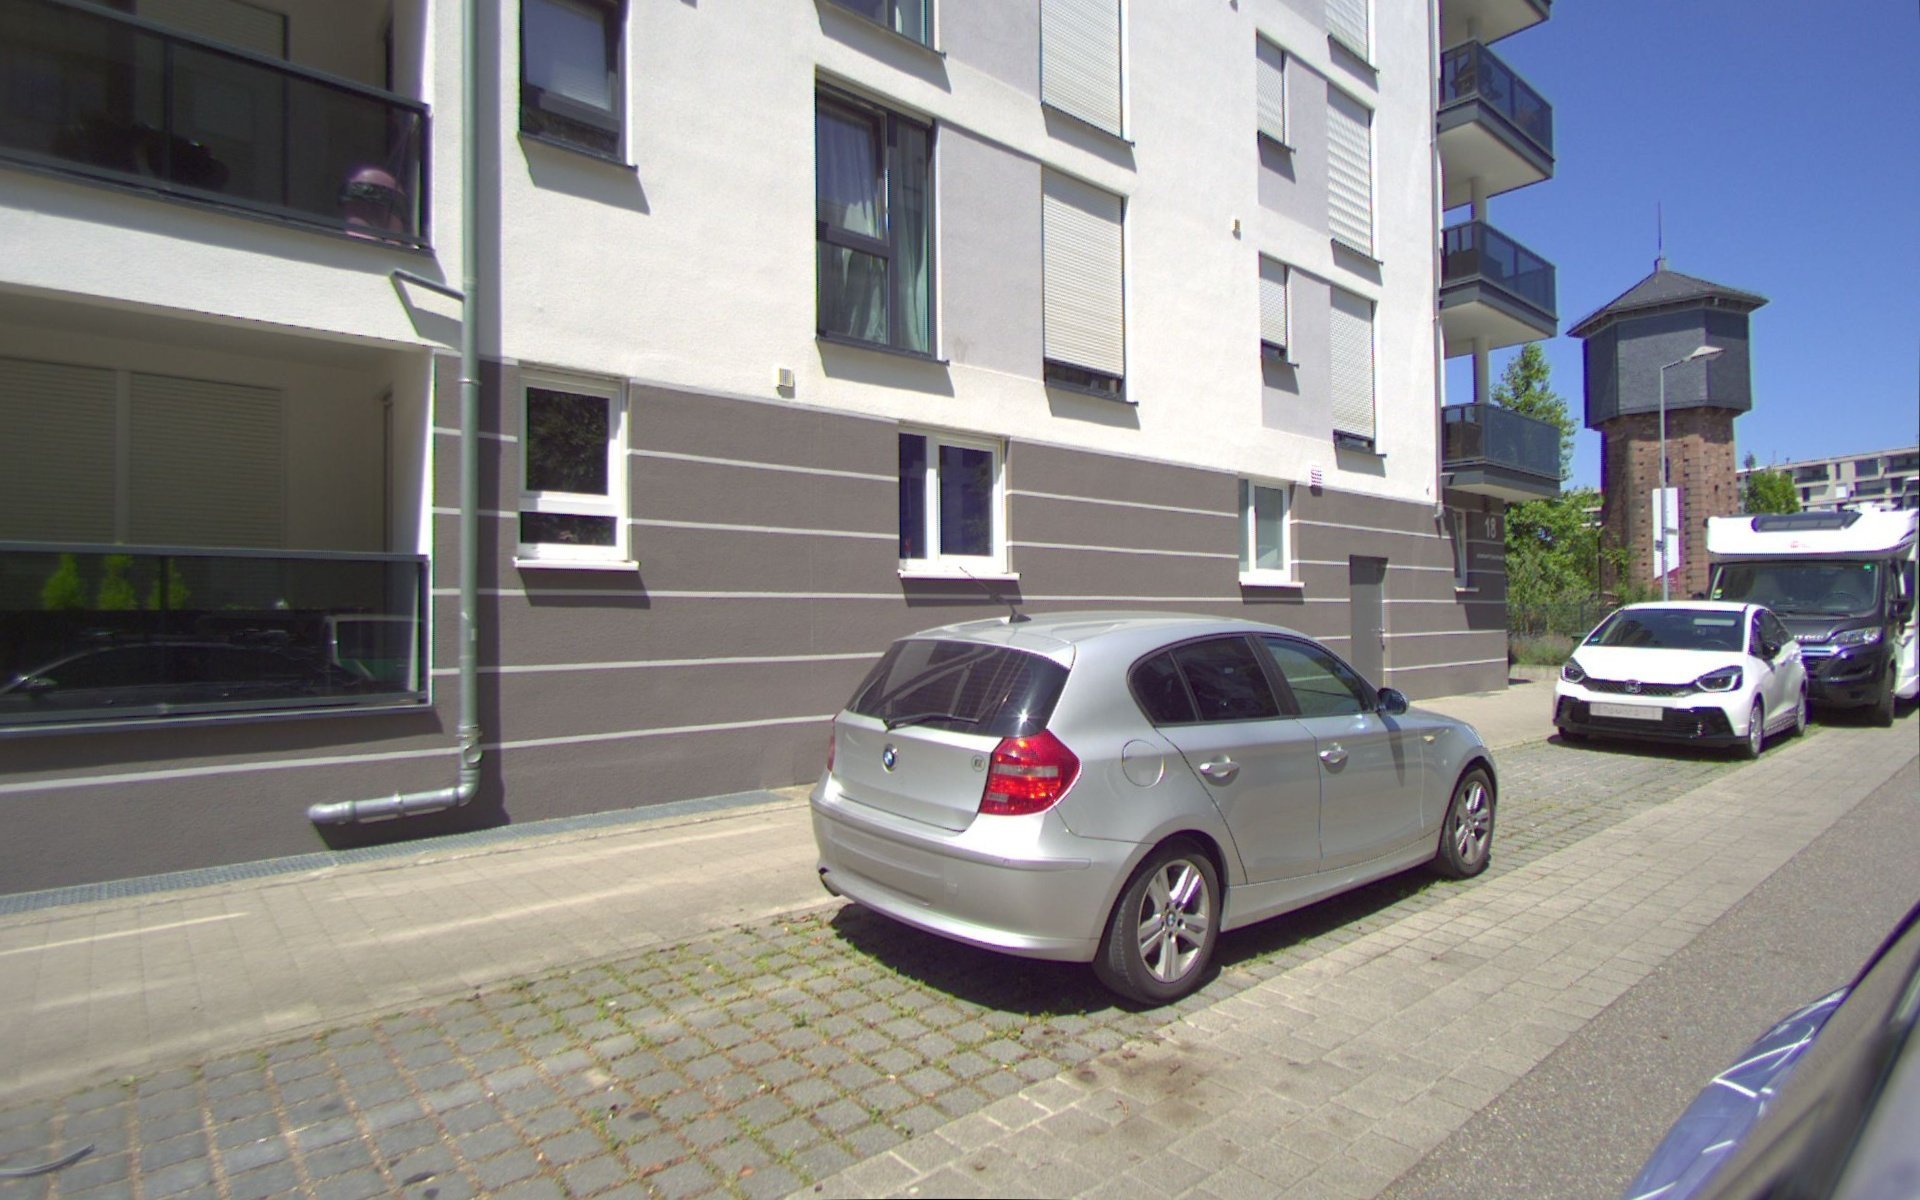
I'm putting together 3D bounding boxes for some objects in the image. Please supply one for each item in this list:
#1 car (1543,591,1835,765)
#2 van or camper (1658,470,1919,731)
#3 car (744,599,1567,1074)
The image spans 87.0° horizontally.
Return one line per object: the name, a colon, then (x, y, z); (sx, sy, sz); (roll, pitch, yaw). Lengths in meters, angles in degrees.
car: (8.019, 0.671, 10.979); (4.189, 1.524, 1.809); (0, 0, -43)
van or camper: (12.821, -0.004, 14.873); (7.693, 2.943, 2.441); (-1, -1, -42)
car: (1.285, 0.736, 5.228); (4.347, 1.434, 1.849); (0, -1, -40)
